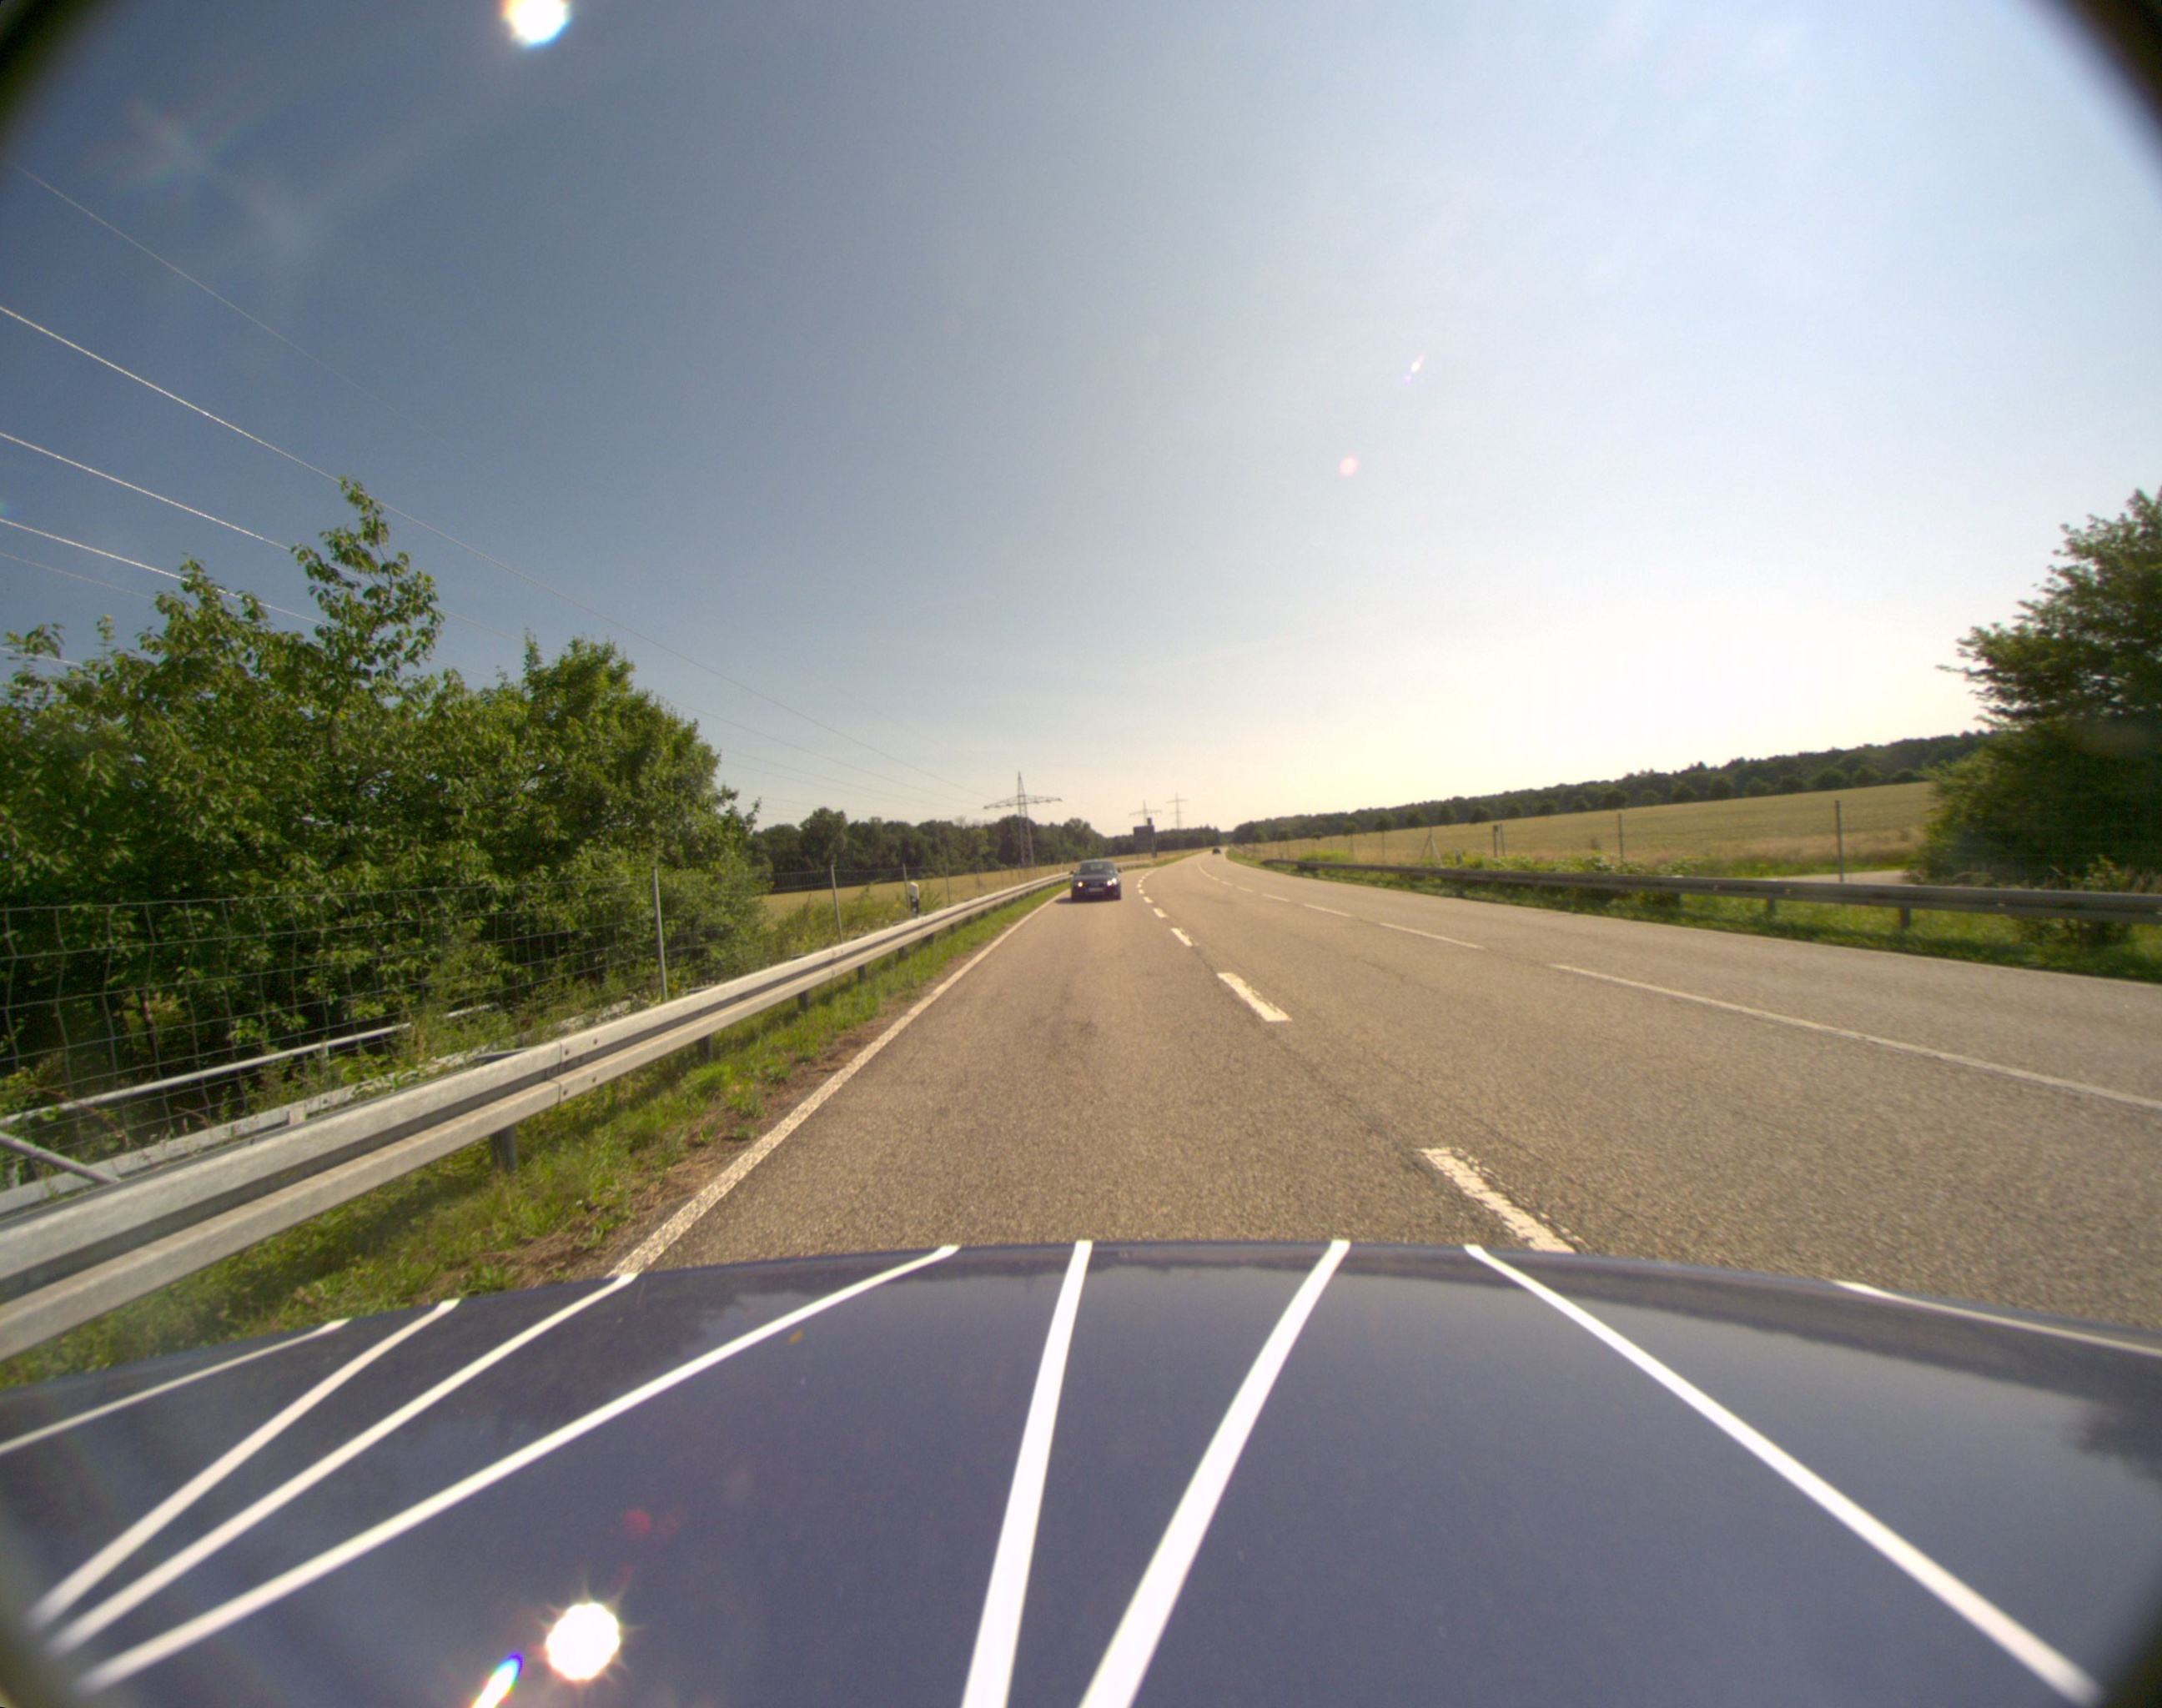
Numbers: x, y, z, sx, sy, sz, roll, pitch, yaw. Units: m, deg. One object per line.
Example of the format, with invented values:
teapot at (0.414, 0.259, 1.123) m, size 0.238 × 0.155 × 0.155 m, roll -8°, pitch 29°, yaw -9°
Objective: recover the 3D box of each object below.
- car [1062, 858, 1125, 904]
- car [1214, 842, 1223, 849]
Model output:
car at (0.520, 0.913, 27.325) m, size 1.885 × 1.448 × 4.077 m, roll -2°, pitch 0°, yaw 5°
car at (29.475, -1.834, 162.844) m, size 1.832 × 1.499 × 4.165 m, roll -4°, pitch 0°, yaw 8°
